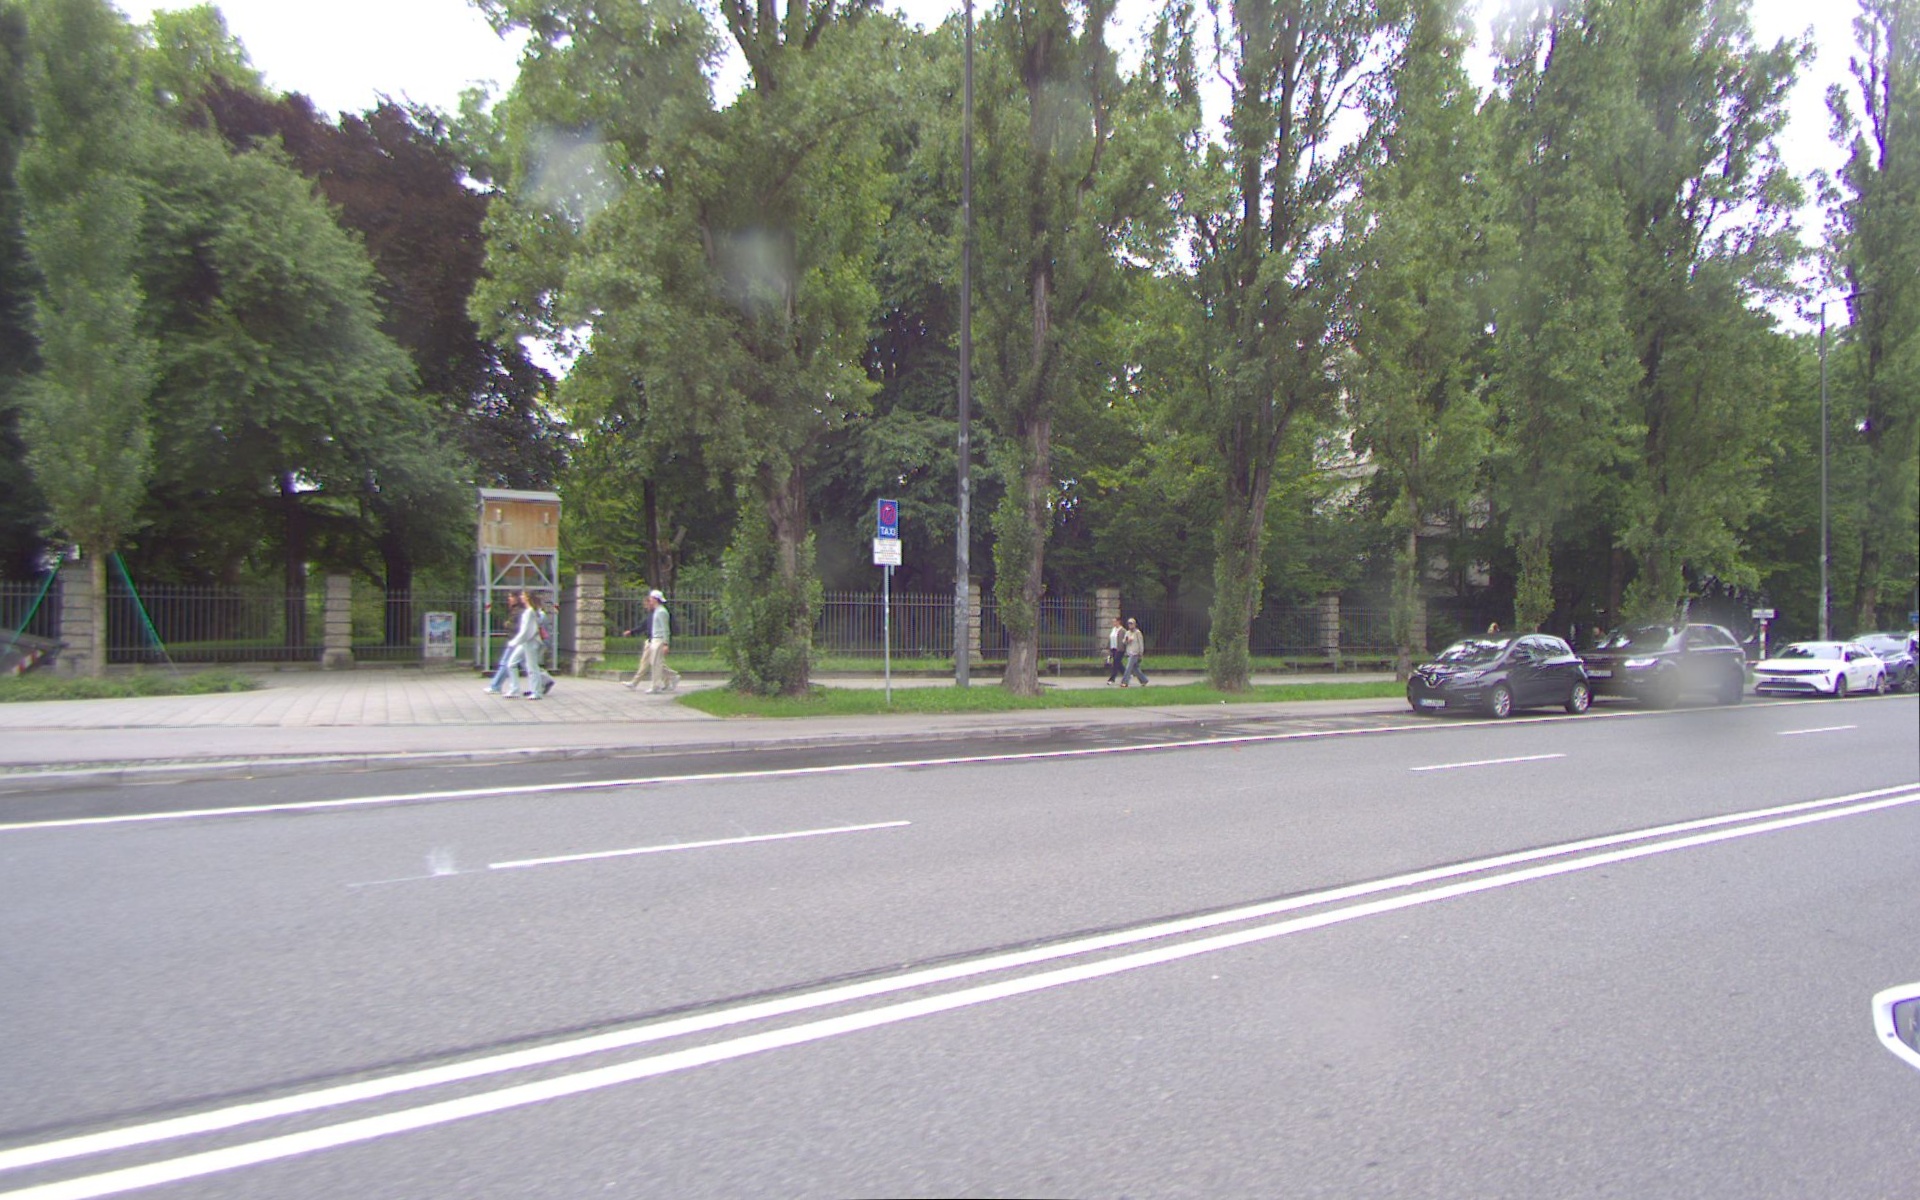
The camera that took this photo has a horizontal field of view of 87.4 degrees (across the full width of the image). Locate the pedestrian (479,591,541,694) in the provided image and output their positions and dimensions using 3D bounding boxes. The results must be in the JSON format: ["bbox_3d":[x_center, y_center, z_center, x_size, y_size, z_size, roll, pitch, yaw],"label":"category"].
[{"bbox_3d":[-7.819,0.728,17.465,0.901,1.739,0.656,1,-1,-31],"label":"pedestrian"}]

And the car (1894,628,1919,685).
[{"bbox_3d":[32.310,1.786,32.408,4.841,1.790,1.931,1,-4,-32],"label":"car"}]

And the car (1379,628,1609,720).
[{"bbox_3d":[10.388,1.377,19.487,4.337,1.604,1.936,1,-3,-30],"label":"car"}]

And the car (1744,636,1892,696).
[{"bbox_3d":[22.843,1.728,26.712,4.224,1.478,1.696,1,-3,-31],"label":"car"}]

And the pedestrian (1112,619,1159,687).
[{"bbox_3d":[4.168,1.244,23.864,0.866,1.569,0.714,1,-1,-32],"label":"pedestrian"}]

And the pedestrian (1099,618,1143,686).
[{"bbox_3d":[3.930,1.254,24.579,0.804,1.626,0.714,1,-1,-31],"label":"pedestrian"}]

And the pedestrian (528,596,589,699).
[{"bbox_3d":[-6.886,0.803,17.219,0.875,1.722,0.684,1,-1,-31],"label":"pedestrian"}]

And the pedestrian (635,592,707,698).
[{"bbox_3d":[-5.241,0.802,18.193,1.080,1.858,0.706,1,0,-31],"label":"pedestrian"}]

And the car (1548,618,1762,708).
[{"bbox_3d":[15.457,1.377,22.310,4.742,1.810,2.037,1,-3,-30],"label":"car"}]

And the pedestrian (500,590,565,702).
[{"bbox_3d":[-6.992,0.738,16.437,0.898,1.770,0.626,1,-1,-31],"label":"pedestrian"}]

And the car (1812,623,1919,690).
[{"bbox_3d":[27.296,1.651,29.497,5.120,1.813,1.900,1,-4,-31],"label":"car"}]

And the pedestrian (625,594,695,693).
[{"bbox_3d":[-5.622,0.807,18.828,1.080,1.796,0.706,1,0,-31],"label":"pedestrian"}]

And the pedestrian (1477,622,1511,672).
[{"bbox_3d":[18.928,1.651,35.614,0.945,1.764,0.663,1,-1,-30],"label":"pedestrian"}]
